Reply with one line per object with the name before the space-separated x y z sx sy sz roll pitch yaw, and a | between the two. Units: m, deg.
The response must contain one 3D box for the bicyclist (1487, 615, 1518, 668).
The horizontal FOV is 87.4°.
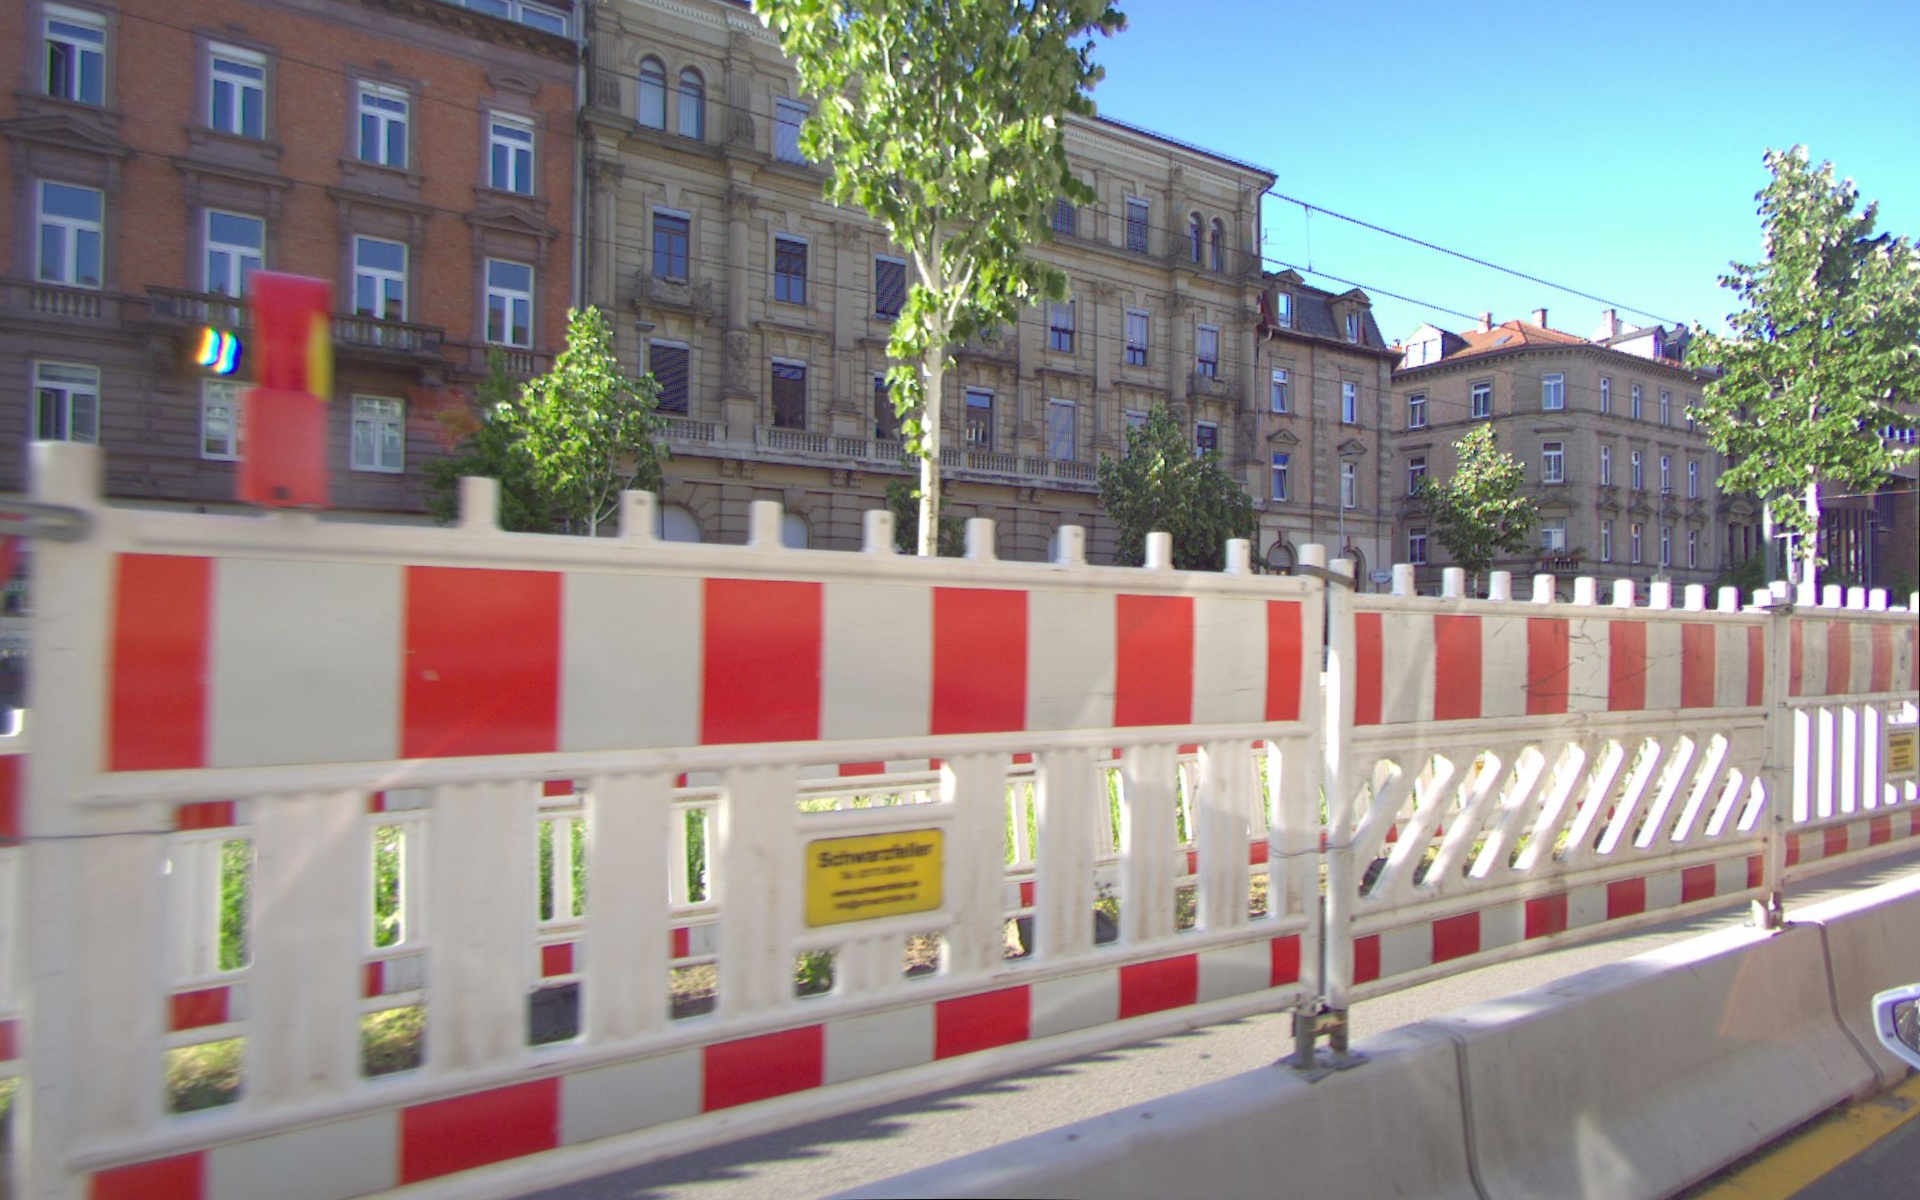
bicyclist | 18.723 1.438 34.677 0.870 1.797 0.853 0 -2 34
